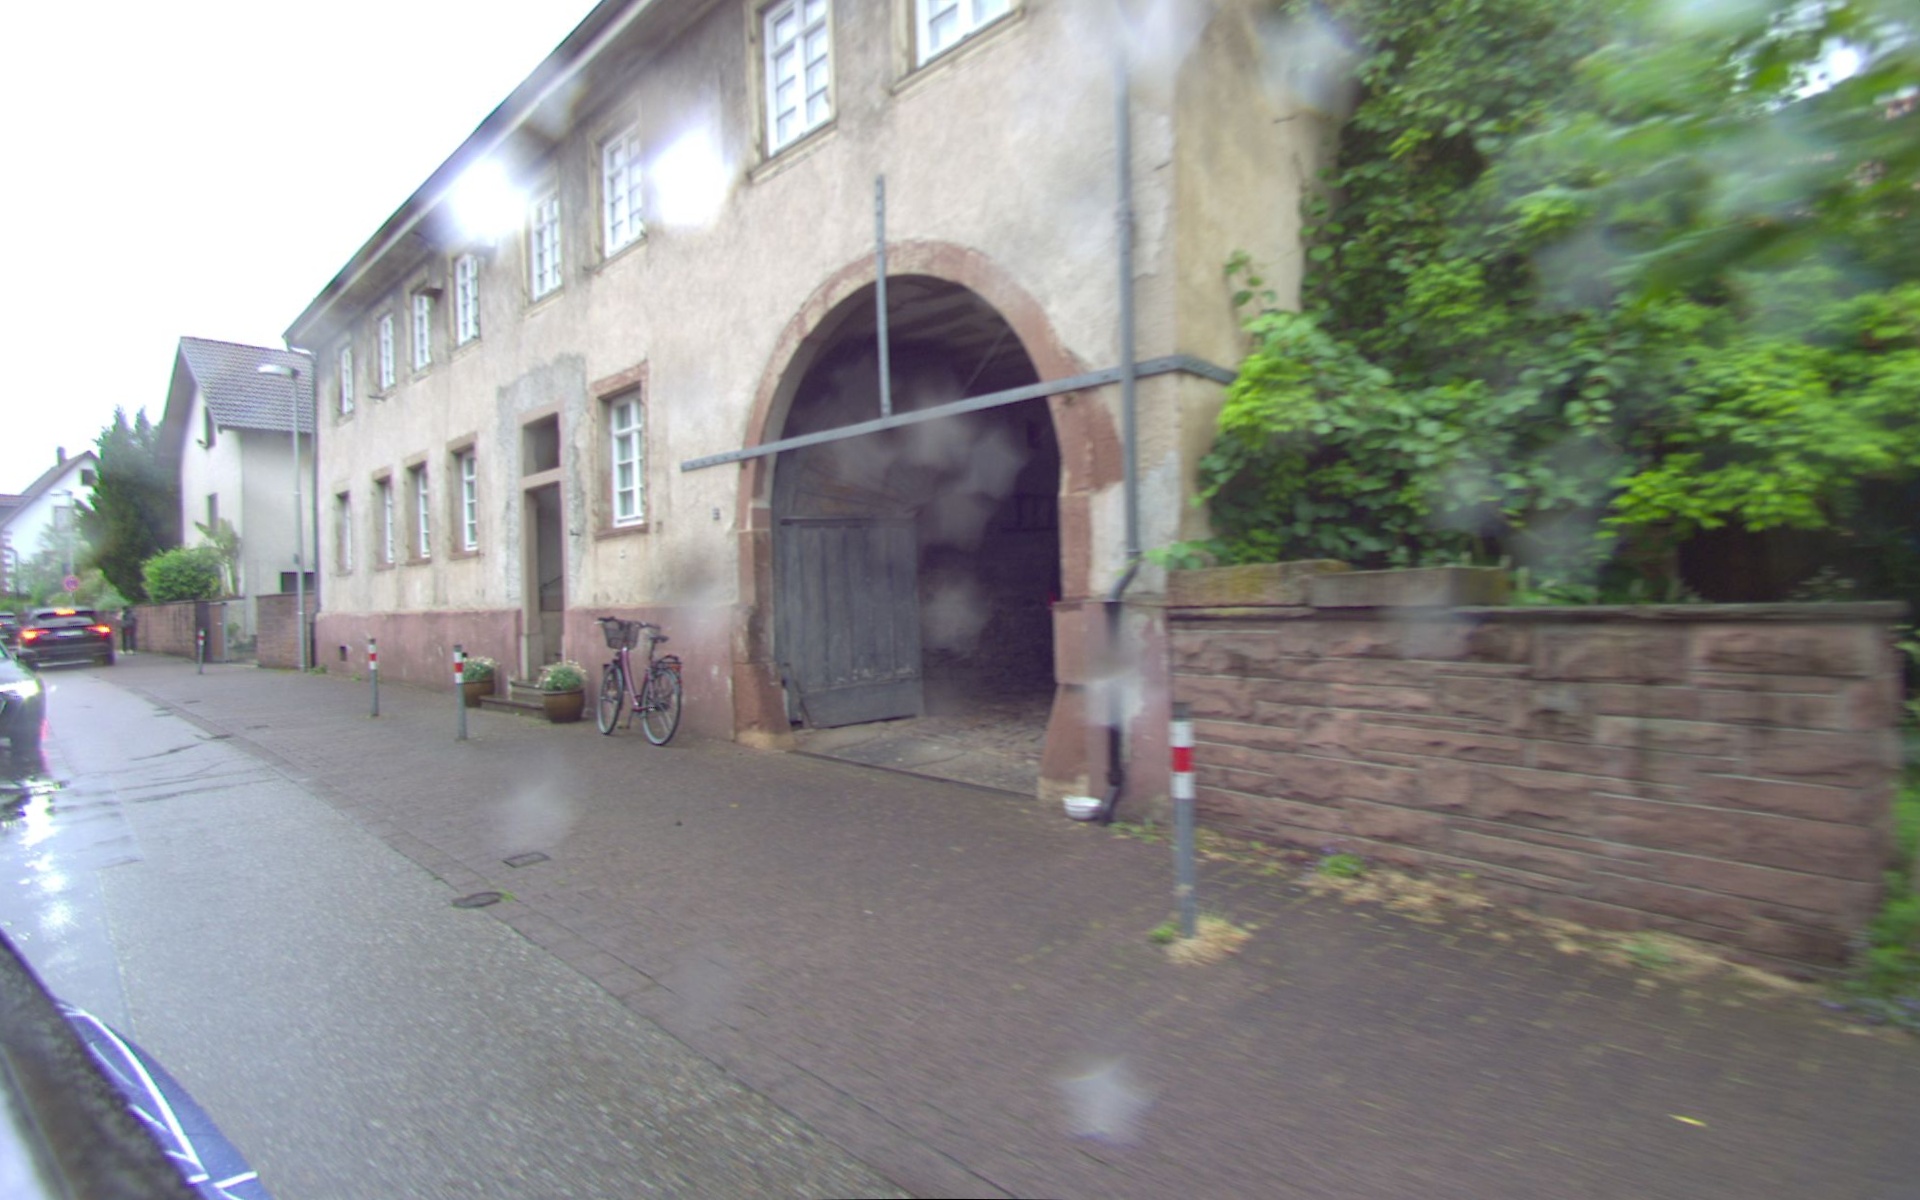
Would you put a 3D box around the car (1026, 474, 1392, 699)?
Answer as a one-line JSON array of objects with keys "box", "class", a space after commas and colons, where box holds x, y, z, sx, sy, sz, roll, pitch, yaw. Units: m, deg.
[{"box": [2.858, -0.283, 11.015, 4.179, 1.946, 1.887, -7, 4, -45], "class": "car"}]

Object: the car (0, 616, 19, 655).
[{"box": [-39.739, 1.451, 41.442, 3.689, 1.524, 1.586, -1, 0, 44], "class": "car"}]

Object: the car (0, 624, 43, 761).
[{"box": [-11.668, 0.974, 11.320, 4.101, 1.381, 1.716, -1, -1, 42], "class": "car"}]

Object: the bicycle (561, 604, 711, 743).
[{"box": [-3.116, 0.663, 9.632, 1.875, 1.187, 0.476, -2, 1, 44], "class": "bicycle"}]

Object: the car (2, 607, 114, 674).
[{"box": [-24.453, 1.031, 27.386, 4.239, 1.567, 1.813, -1, 3, 43], "class": "car"}]

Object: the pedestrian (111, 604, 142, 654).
[{"box": [-26.243, 0.910, 31.861, 0.832, 1.550, 0.566, -1, 2, 40], "class": "pedestrian"}]
